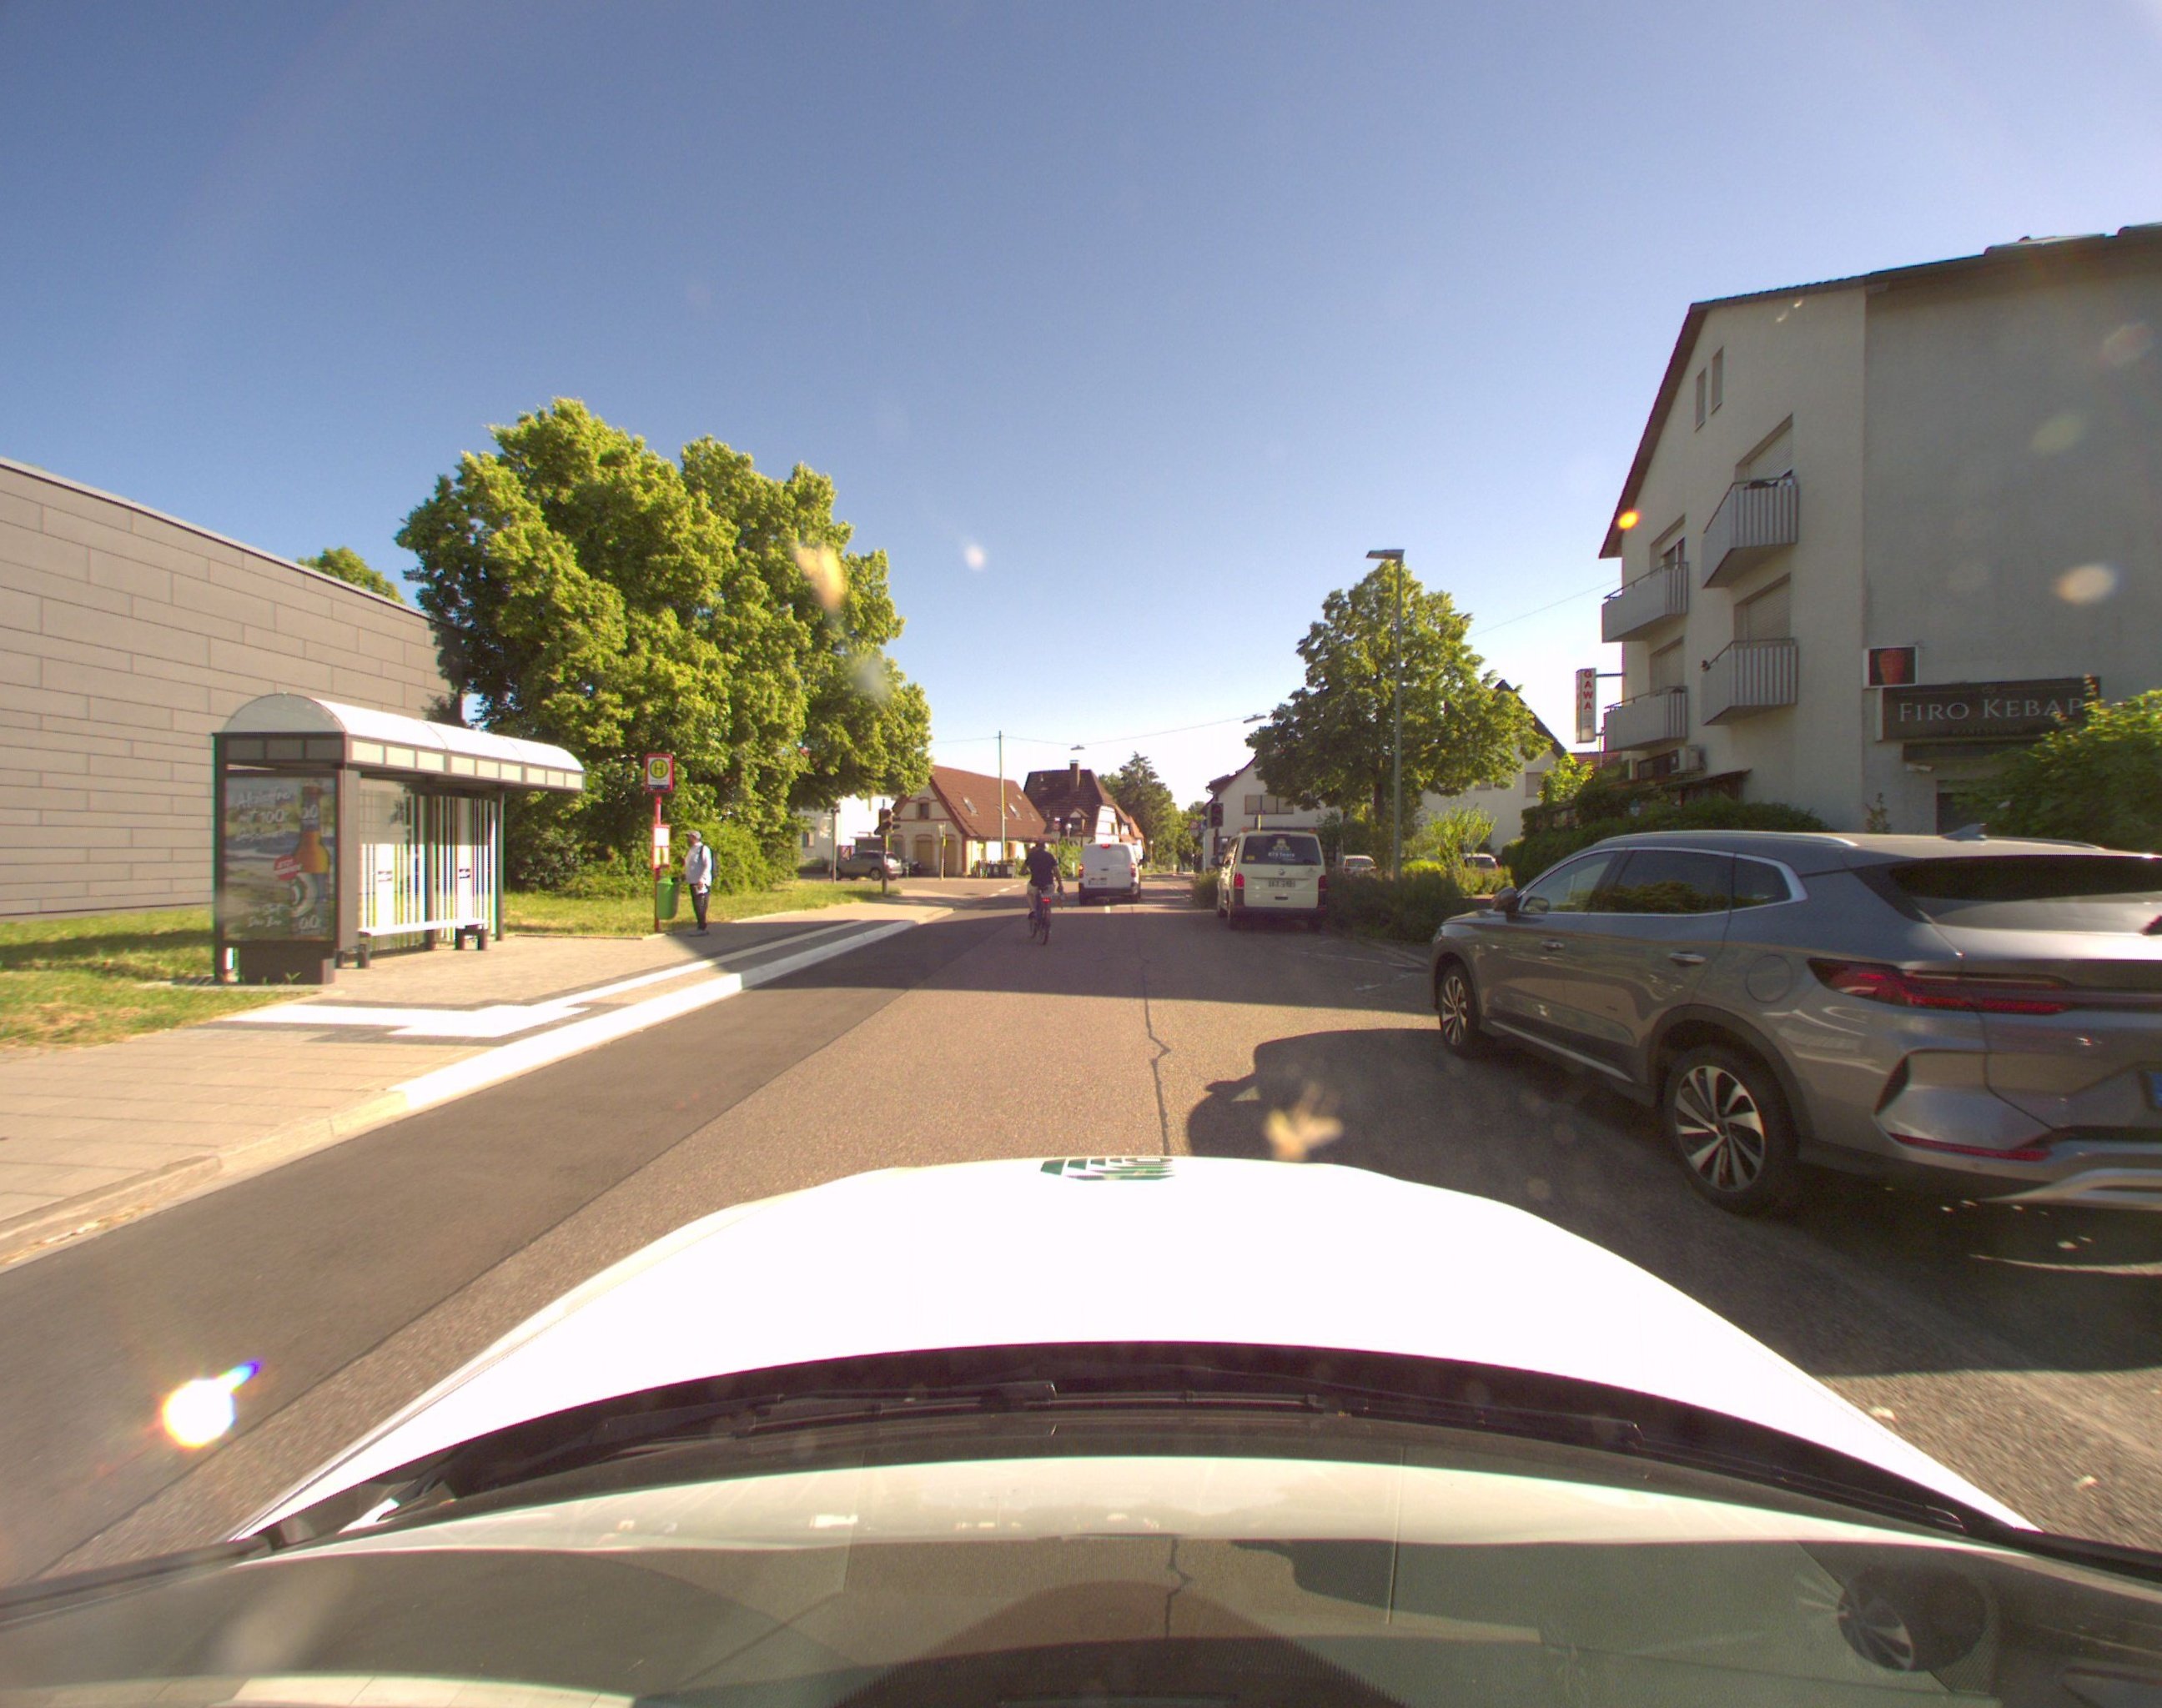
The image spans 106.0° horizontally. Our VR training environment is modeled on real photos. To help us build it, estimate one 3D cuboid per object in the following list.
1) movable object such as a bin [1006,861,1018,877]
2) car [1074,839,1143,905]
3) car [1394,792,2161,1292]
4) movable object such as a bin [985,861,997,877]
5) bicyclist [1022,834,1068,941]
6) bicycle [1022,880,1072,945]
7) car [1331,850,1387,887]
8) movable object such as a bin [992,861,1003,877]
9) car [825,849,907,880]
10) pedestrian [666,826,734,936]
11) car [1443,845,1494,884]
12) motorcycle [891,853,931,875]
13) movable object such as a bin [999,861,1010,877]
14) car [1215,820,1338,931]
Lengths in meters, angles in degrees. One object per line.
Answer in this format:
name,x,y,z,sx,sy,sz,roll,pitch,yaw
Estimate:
movable object such as a bin,-4.201,0.910,49.595,0.551,0.924,0.629,0,0,21
car,0.928,0.473,25.643,1.948,1.848,4.565,-1,1,4
car,3.792,0.646,5.132,1.950,1.738,4.577,0,0,1
movable object such as a bin,-5.560,0.917,50.134,0.503,0.924,0.629,0,0,21
bicyclist,-0.634,0.561,14.165,0.763,1.789,0.851,0,0,-5
bicycle,-0.633,0.984,14.267,0.773,0.940,2.287,-1,0,-5
car,12.721,0.617,37.562,1.980,1.421,4.820,0,2,13
movable object such as a bin,-5.109,0.921,49.923,0.409,0.906,0.629,0,1,21
car,-12.468,0.591,47.231,4.188,1.725,1.954,0,0,17
pedestrian,-6.564,0.442,14.040,0.709,1.802,0.776,2,1,36
car,17.643,0.432,37.254,1.693,1.551,4.427,1,2,20
motorcycle,-10.561,0.605,50.558,2.223,1.295,0.887,-1,3,21
movable object such as a bin,-4.685,0.908,49.775,0.407,0.924,0.629,0,0,21
car,4.083,0.406,17.751,1.983,2.079,4.585,1,0,6
